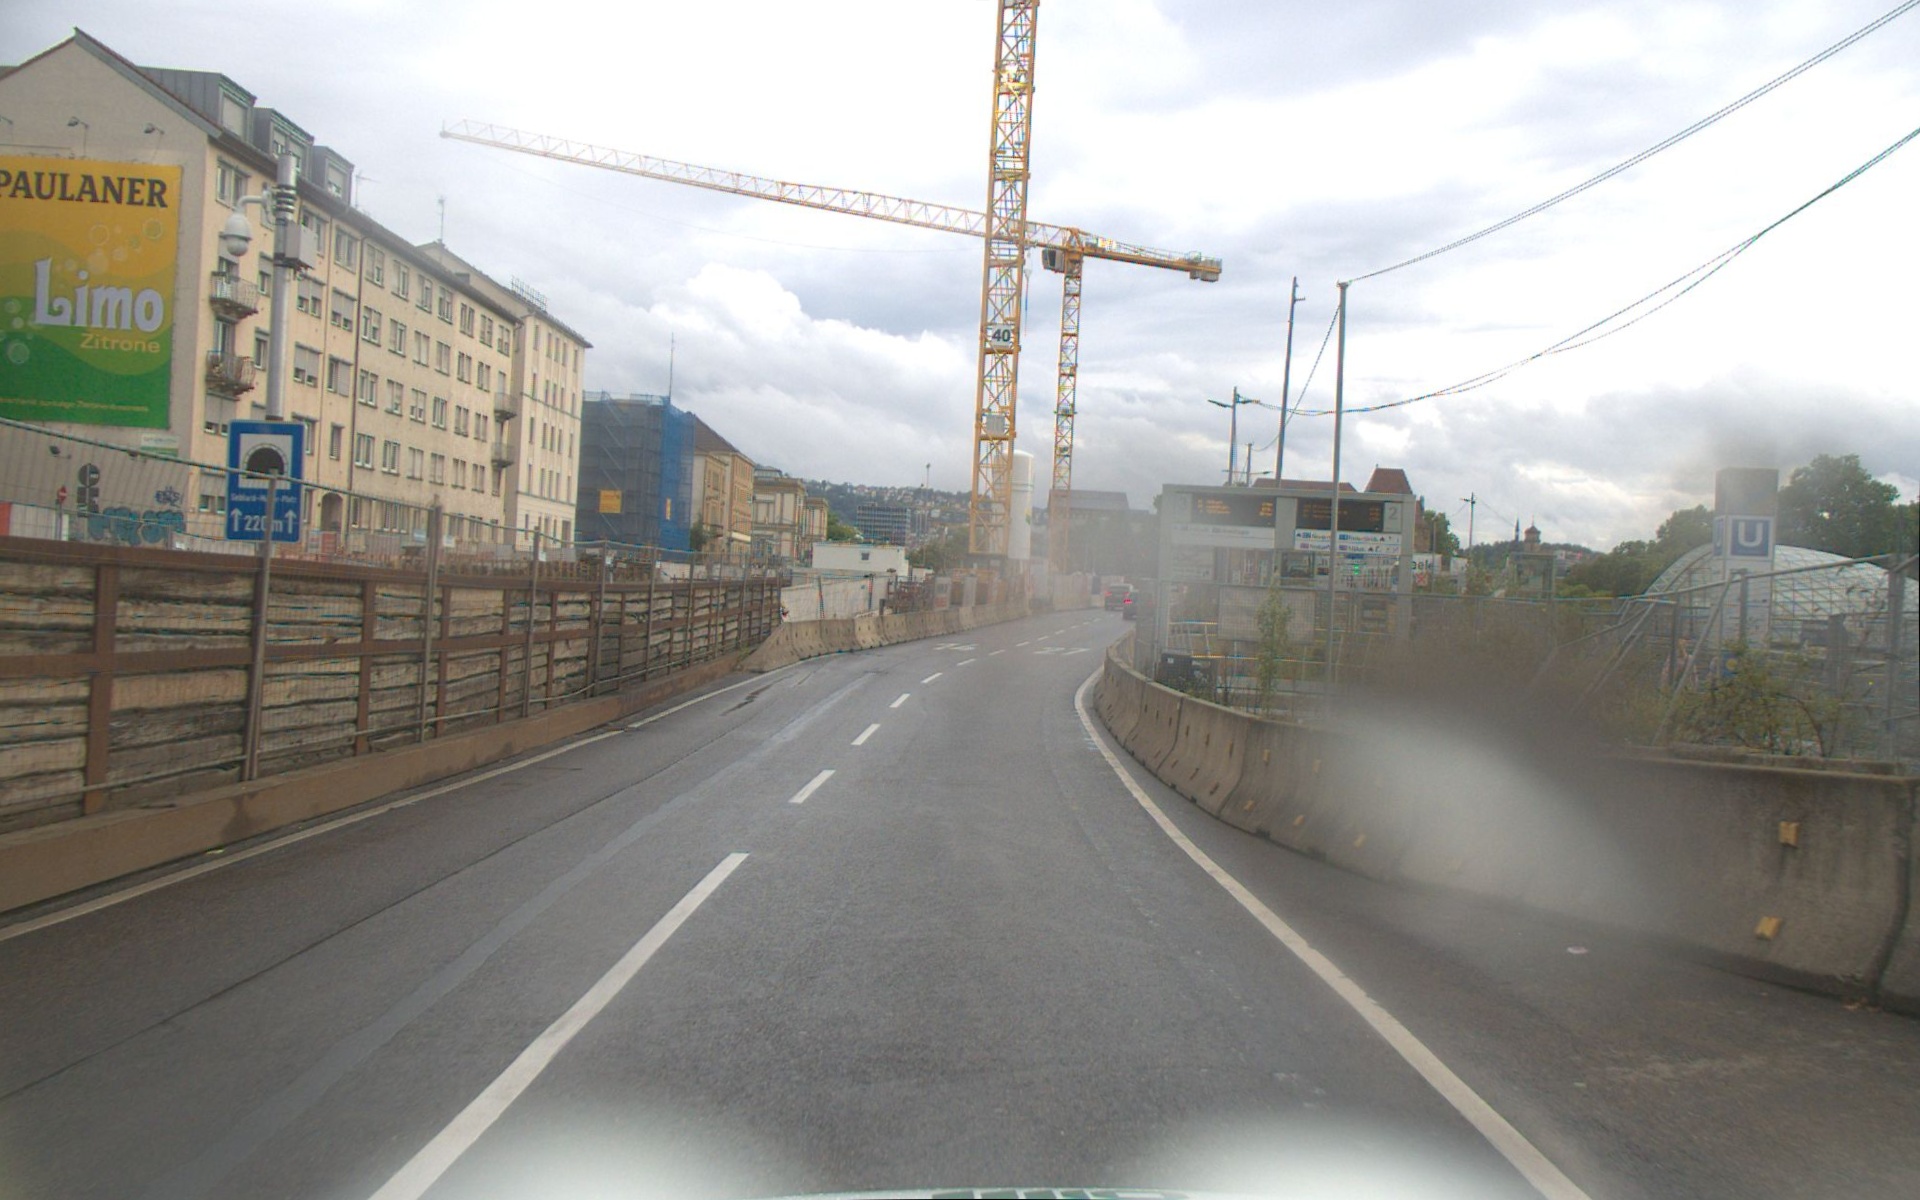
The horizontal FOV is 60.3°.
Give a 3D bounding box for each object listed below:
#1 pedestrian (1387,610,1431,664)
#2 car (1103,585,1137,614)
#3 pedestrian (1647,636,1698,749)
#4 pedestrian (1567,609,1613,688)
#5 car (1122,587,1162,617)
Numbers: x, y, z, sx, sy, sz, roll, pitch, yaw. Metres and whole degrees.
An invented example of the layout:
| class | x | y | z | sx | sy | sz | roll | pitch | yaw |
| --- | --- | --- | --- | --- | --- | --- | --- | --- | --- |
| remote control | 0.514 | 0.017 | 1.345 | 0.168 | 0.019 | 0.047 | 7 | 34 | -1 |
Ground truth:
| class | x | y | z | sx | sy | sz | roll | pitch | yaw |
| --- | --- | --- | --- | --- | --- | --- | --- | --- | --- |
| pedestrian | 14.568 | 1.186 | 53.646 | 1.005 | 1.687 | 0.894 | 2 | 0 | -21 |
| car | 10.071 | -0.058 | 103.609 | 1.823 | 1.689 | 4.660 | 3 | 1 | 8 |
| pedestrian | 11.816 | 1.512 | 27.418 | 0.676 | 1.809 | 0.814 | 2 | 0 | 27 |
| pedestrian | 14.716 | 1.118 | 38.659 | 0.675 | 1.809 | 1.023 | 2 | 0 | 2 |
| car | 9.302 | 0.081 | 84.344 | 1.823 | 1.458 | 4.660 | 1 | 0 | 8 |
